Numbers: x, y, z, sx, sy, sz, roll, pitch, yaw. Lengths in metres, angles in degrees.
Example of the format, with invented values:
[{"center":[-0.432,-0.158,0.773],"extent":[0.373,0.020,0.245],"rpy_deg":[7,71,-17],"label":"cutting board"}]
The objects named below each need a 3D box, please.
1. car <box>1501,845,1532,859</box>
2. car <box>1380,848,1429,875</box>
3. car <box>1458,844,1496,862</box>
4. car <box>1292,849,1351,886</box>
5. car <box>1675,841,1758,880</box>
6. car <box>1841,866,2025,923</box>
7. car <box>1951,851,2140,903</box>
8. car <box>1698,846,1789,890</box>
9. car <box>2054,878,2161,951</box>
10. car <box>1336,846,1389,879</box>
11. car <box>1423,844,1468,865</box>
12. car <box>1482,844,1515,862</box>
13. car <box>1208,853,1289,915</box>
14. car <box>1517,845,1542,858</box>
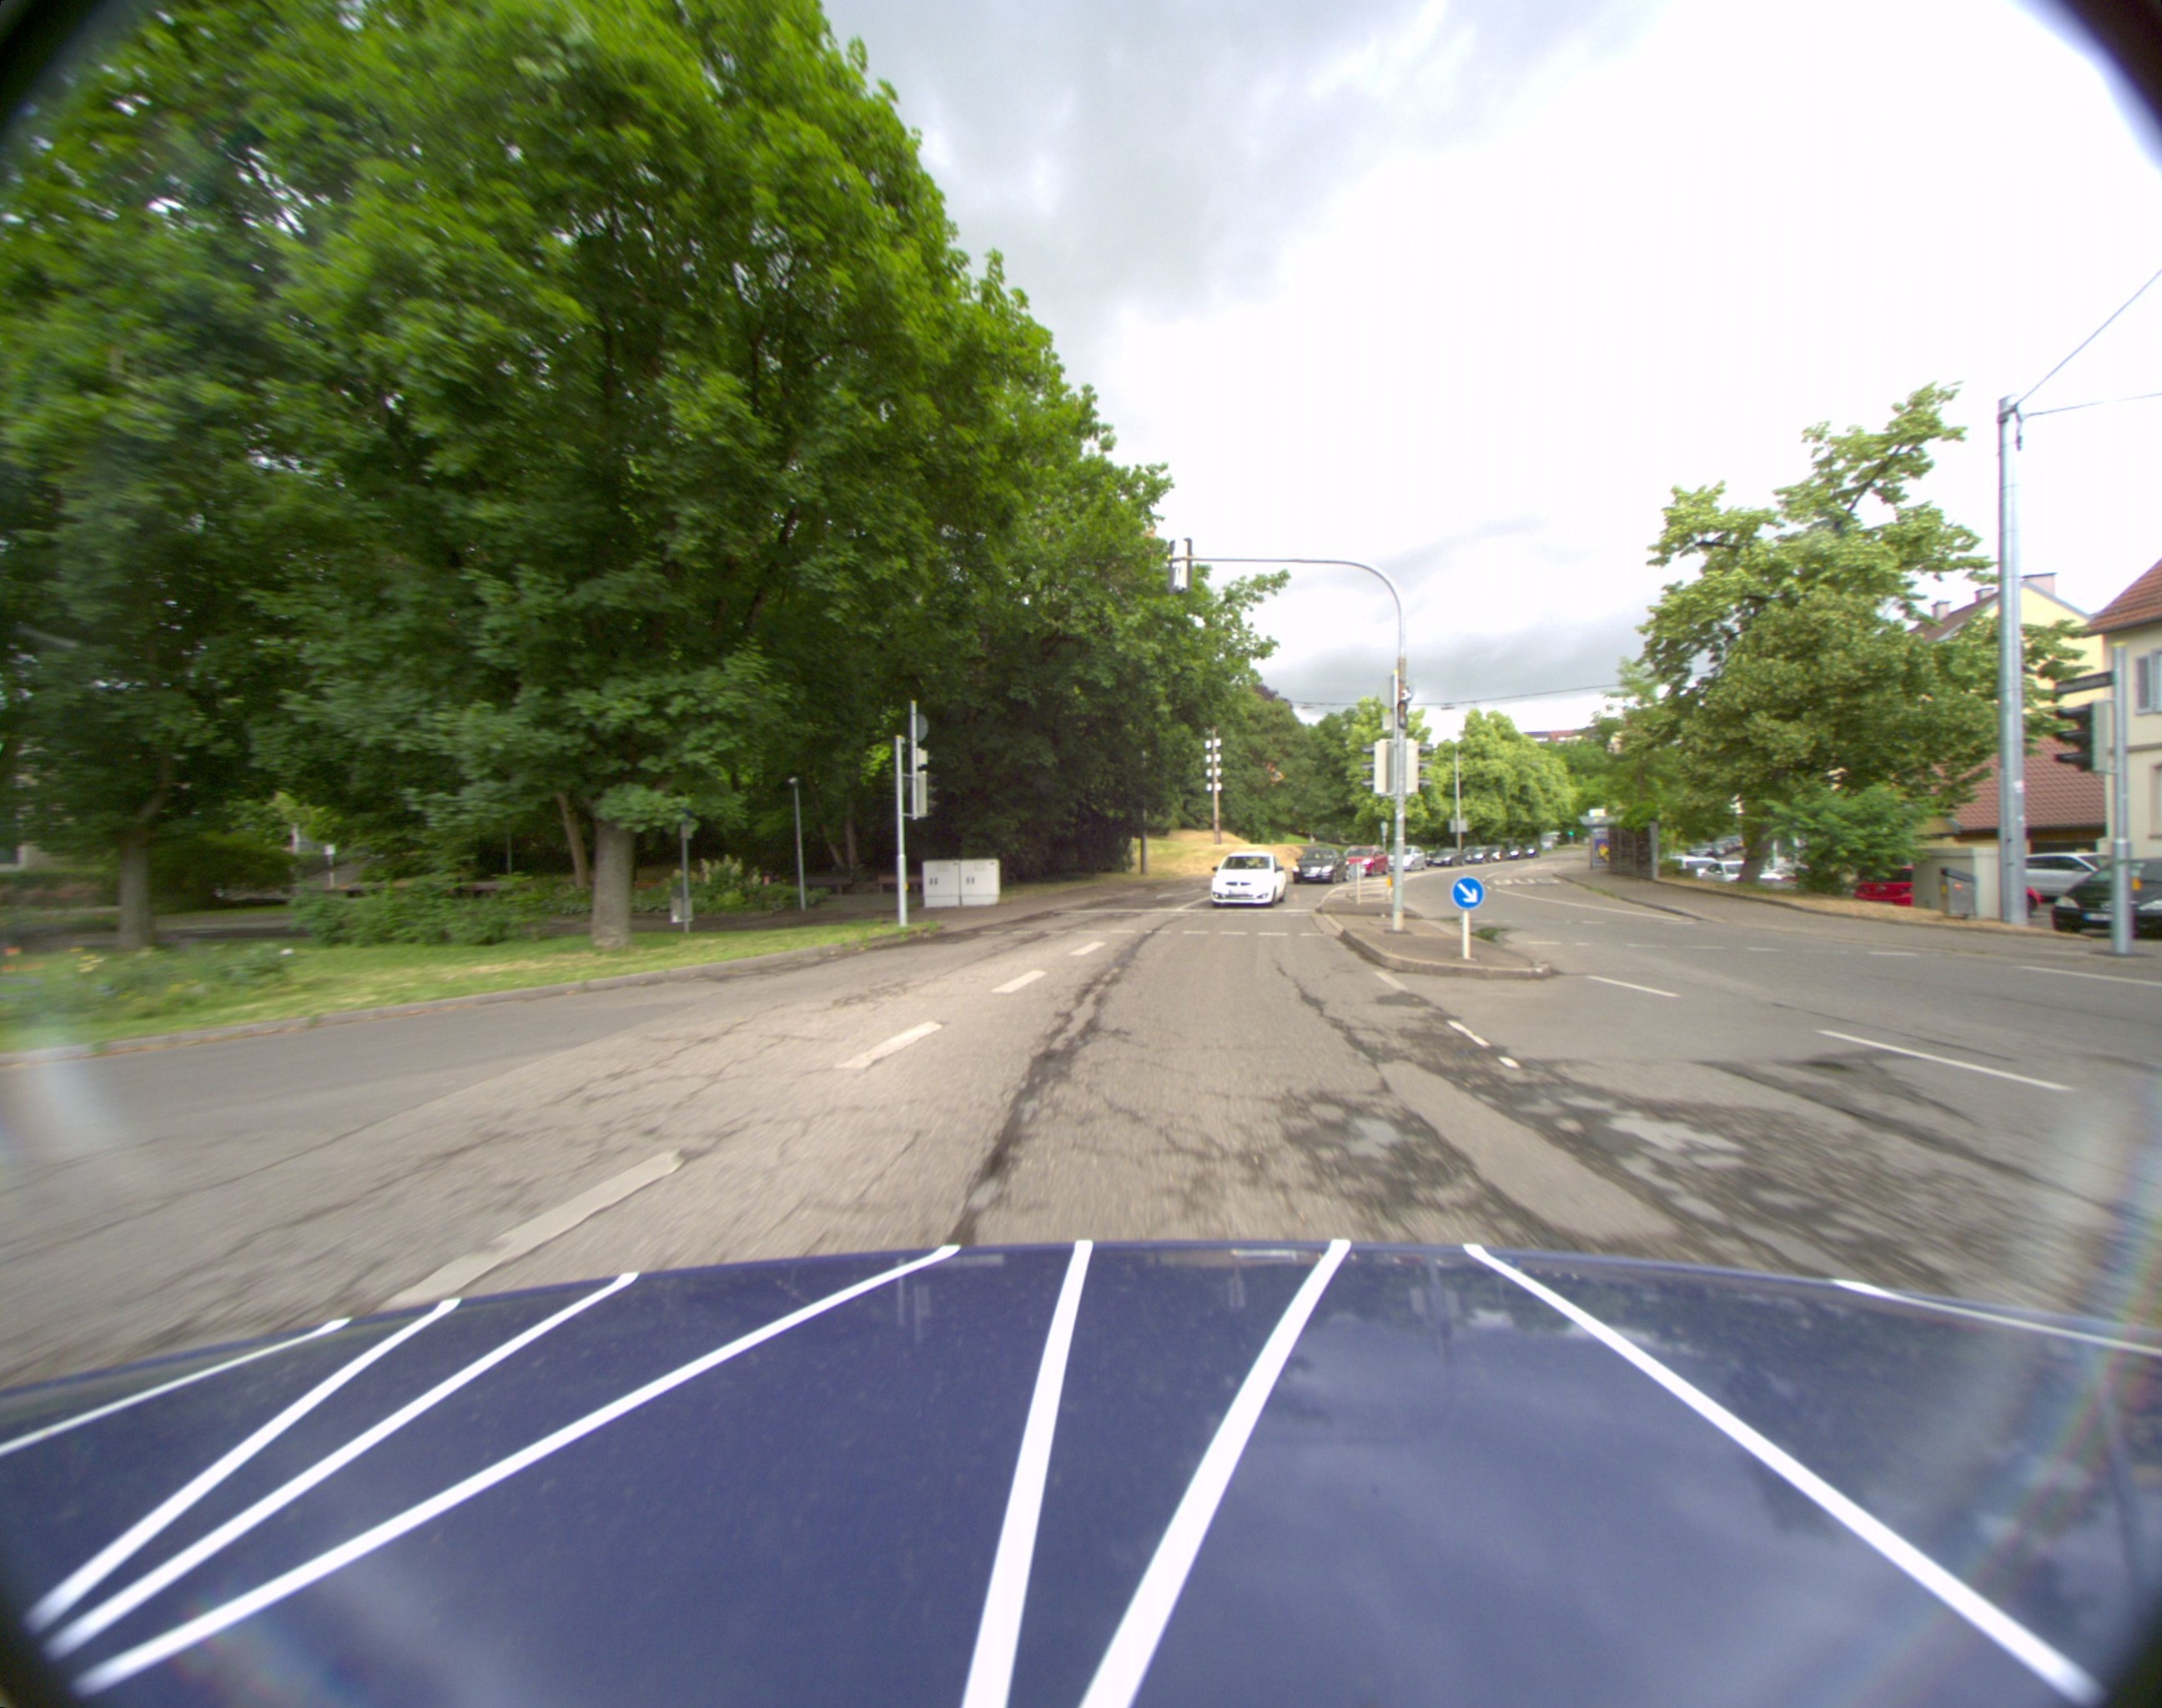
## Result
[{"center":[39.859,-0.194,69.532],"extent":[1.641,1.262,3.633],"rpy_deg":[0,1,43],"label":"car"},{"center":[20.305,0.449,47.650],"extent":[1.779,1.560,4.008],"rpy_deg":[0,1,39],"label":"car"},{"center":[31.517,-0.089,60.421],"extent":[1.693,1.403,3.990],"rpy_deg":[0,1,43],"label":"car"},{"center":[10.841,0.557,34.073],"extent":[1.727,1.512,4.007],"rpy_deg":[-1,1,29],"label":"car"},{"center":[28.638,0.259,34.391],"extent":[1.932,1.598,3.667],"rpy_deg":[-1,1,24],"label":"car"},{"center":[23.055,1.061,20.620],"extent":[3.629,1.346,1.598],"rpy_deg":[-1,1,-9],"label":"car"},{"center":[30.636,0.674,24.314],"extent":[1.652,1.483,3.481],"rpy_deg":[-1,1,1],"label":"car"},{"center":[26.589,0.506,30.658],"extent":[1.896,1.618,4.007],"rpy_deg":[-1,1,28],"label":"car"},{"center":[21.236,1.138,14.854],"extent":[3.401,1.302,1.482],"rpy_deg":[0,0,-15],"label":"car"},{"center":[15.149,0.422,40.806],"extent":[1.671,1.632,4.108],"rpy_deg":[0,1,35],"label":"car"},{"center":[26.585,0.043,55.423],"extent":[1.850,1.449,4.008],"rpy_deg":[0,1,43],"label":"car"},{"center":[36.064,-0.085,65.591],"extent":[1.703,1.438,3.875],"rpy_deg":[0,1,42],"label":"car"},{"center":[4.770,0.778,21.236],"extent":[1.625,1.499,4.005],"rpy_deg":[-1,1,20],"label":"car"},{"center":[44.016,-0.266,74.521],"extent":[1.417,1.242,3.302],"rpy_deg":[0,1,43],"label":"car"}]
